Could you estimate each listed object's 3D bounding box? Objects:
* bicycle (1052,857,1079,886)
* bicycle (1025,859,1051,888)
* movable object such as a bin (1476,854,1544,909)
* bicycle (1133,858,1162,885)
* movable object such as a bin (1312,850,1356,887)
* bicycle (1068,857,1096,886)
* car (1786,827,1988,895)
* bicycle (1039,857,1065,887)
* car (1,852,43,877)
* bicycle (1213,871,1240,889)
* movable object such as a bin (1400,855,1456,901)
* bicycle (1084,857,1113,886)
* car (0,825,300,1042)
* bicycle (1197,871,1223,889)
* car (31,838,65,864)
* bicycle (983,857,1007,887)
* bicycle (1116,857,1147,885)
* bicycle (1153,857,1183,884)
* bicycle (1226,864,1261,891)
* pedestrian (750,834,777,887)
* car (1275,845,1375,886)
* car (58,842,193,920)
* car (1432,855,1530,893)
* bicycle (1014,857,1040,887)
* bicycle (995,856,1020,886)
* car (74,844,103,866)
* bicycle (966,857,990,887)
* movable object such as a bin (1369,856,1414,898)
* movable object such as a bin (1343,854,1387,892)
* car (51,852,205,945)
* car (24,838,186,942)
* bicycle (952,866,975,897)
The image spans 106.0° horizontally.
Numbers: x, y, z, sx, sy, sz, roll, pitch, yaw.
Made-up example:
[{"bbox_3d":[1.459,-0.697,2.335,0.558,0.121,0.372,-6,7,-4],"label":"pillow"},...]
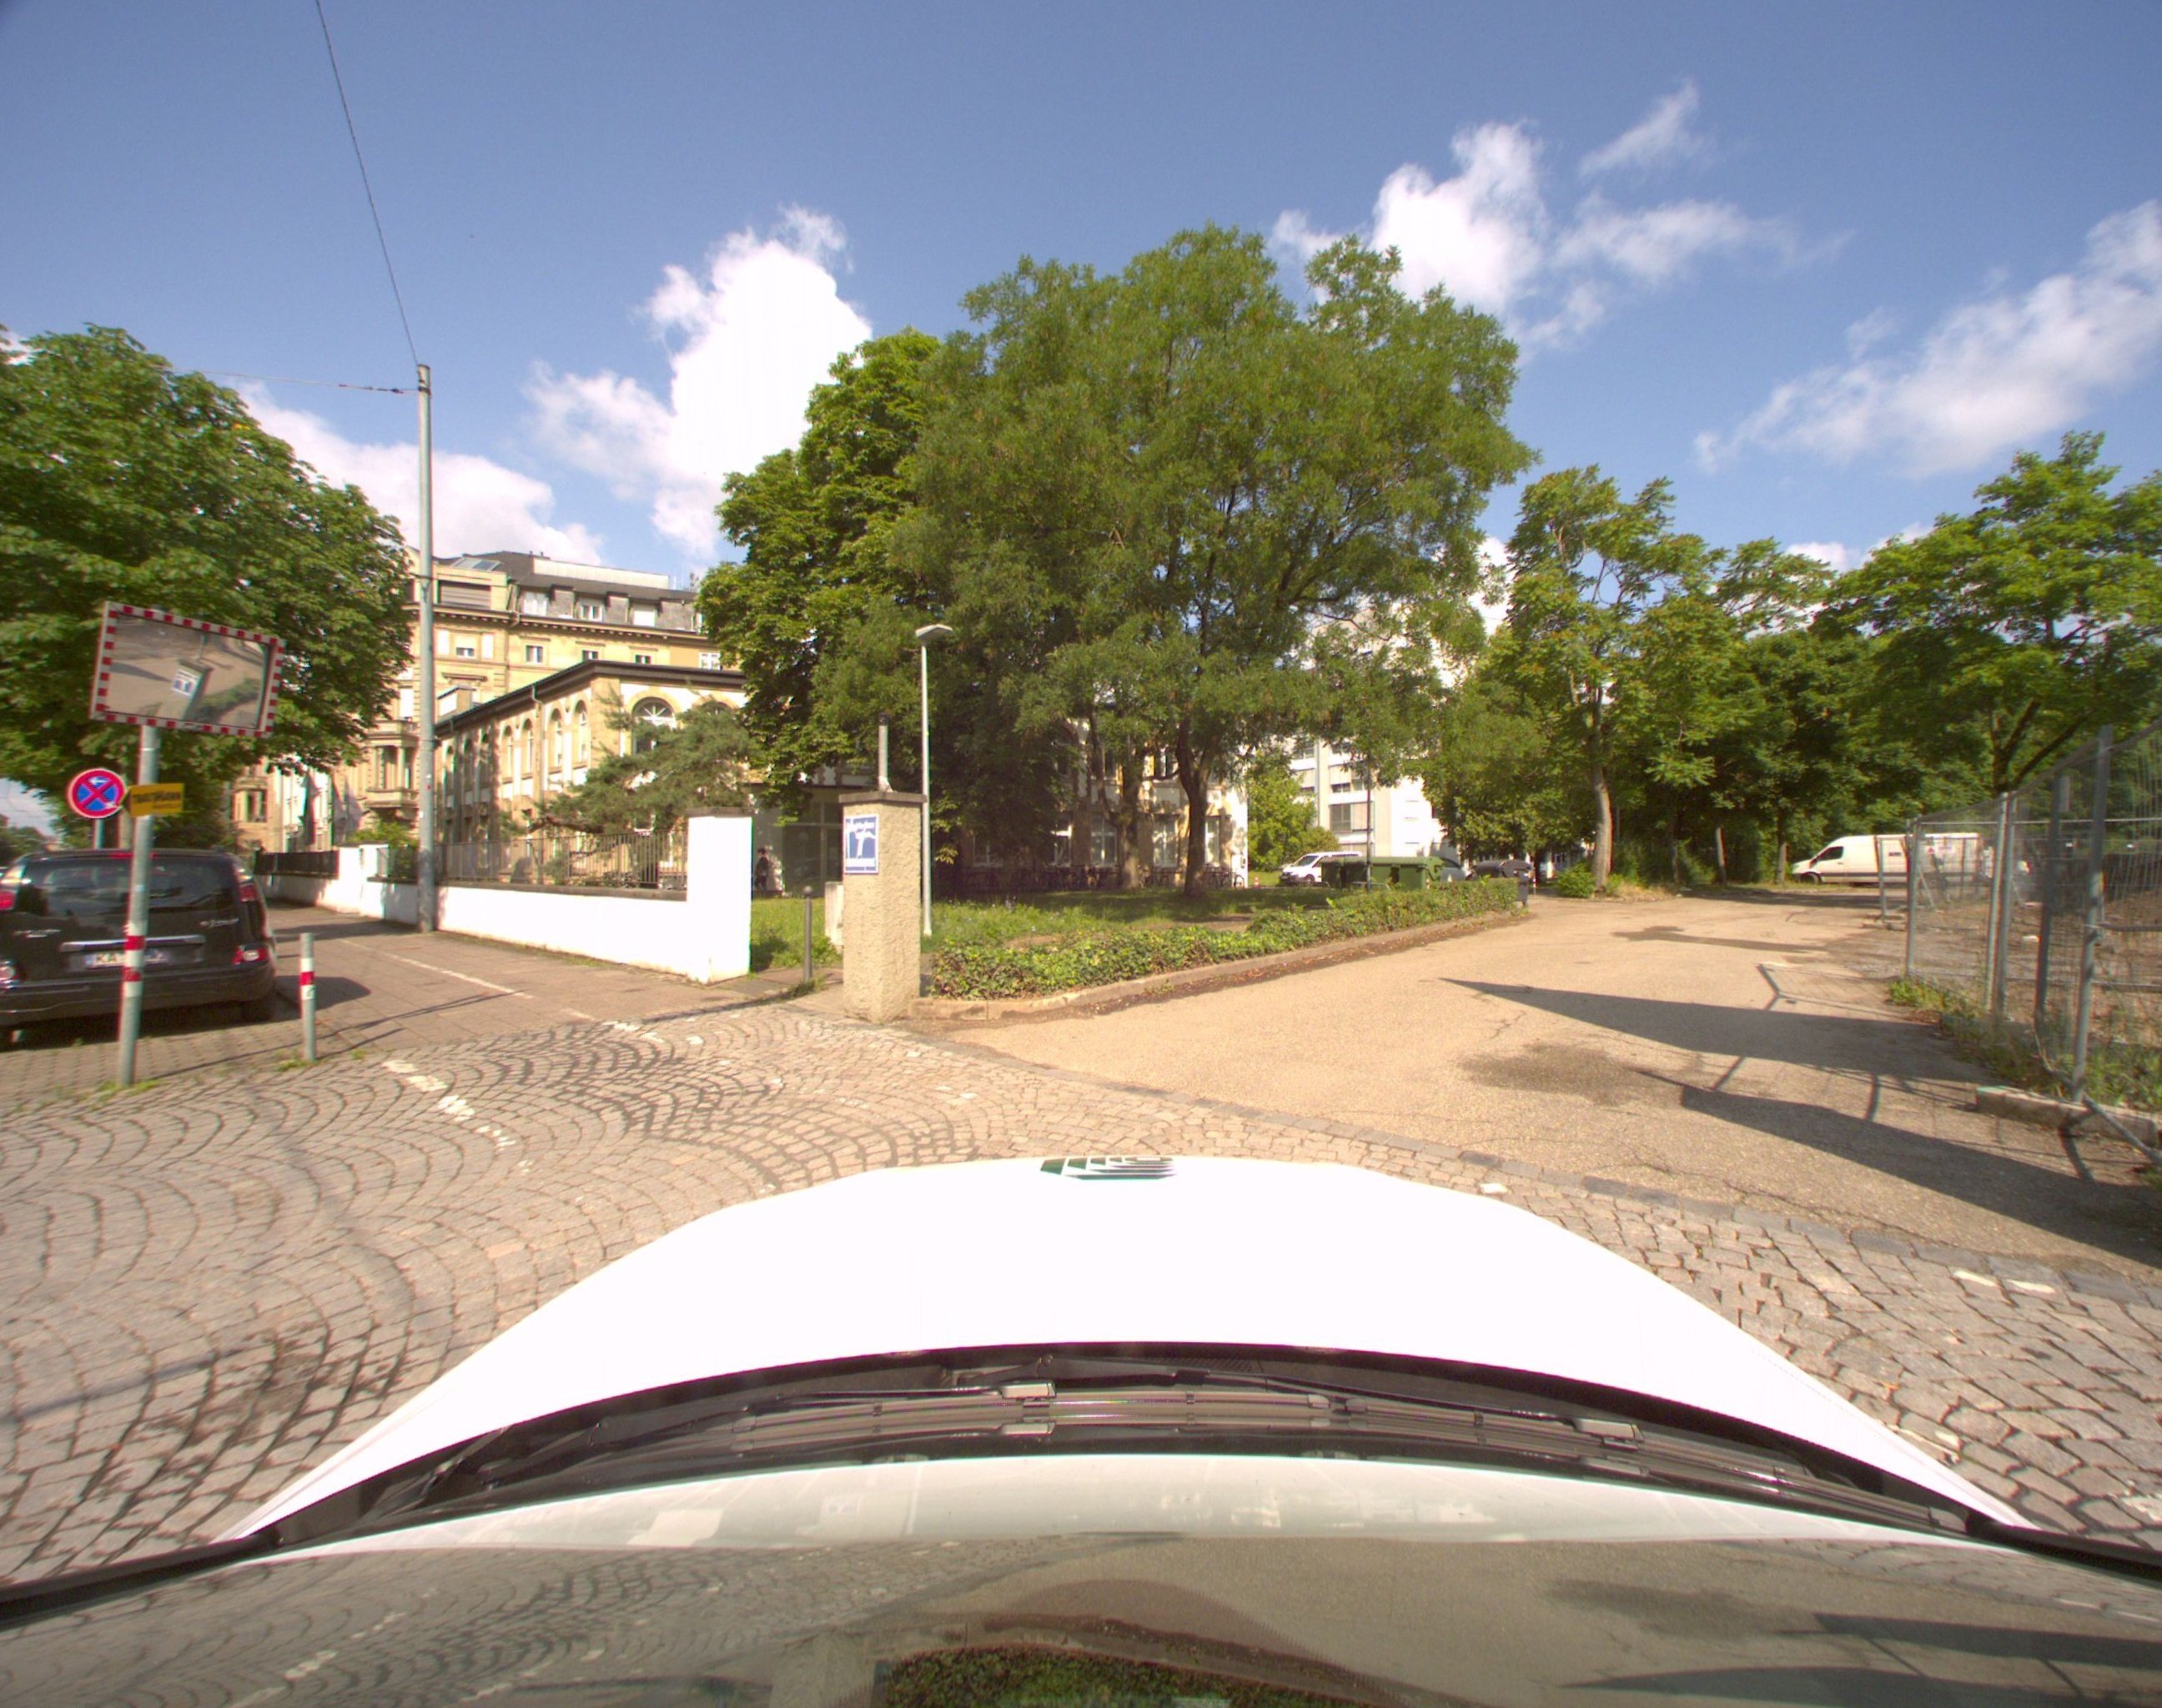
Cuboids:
[{"bbox_3d":[-0.615,0.671,32.066,0.420,1.056,2.054,-4,1,-19],"label":"bicycle"},{"bbox_3d":[-1.670,0.733,31.251,0.420,1.056,2.054,-4,1,-18],"label":"bicycle"},{"bbox_3d":[12.483,0.795,23.762,1.243,1.481,1.295,1,3,-3],"label":"movable object such as a bin"},{"bbox_3d":[2.693,0.693,33.162,0.420,1.056,2.054,0,0,-18],"label":"bicycle"},{"bbox_3d":[9.659,0.535,31.125,0.949,1.349,1.368,0,0,-29],"label":"movable object such as a bin"},{"bbox_3d":[0.031,0.668,32.049,0.420,1.056,2.054,-4,1,-19],"label":"bicycle"},{"bbox_3d":[39.409,0.237,40.084,2.010,3.047,6.897,-2,2,-38],"label":"car"},{"bbox_3d":[-1.147,0.683,31.806,0.420,1.056,2.054,-4,1,-19],"label":"bicycle"},{"bbox_3d":[-73.890,0.734,56.852,3.519,1.684,1.637,0,0,40],"label":"car"},{"bbox_3d":[6.128,1.095,34.342,0.320,0.705,1.849,0,0,-16],"label":"bicycle"},{"bbox_3d":[11.575,0.781,27.181,1.106,1.451,1.331,0,0,-29],"label":"movable object such as a bin"},{"bbox_3d":[0.681,0.667,32.399,0.420,1.056,2.054,-4,1,-19],"label":"bicycle"},{"bbox_3d":[-8.932,0.590,7.744,3.539,1.612,1.689,2,-2,39],"label":"car"},{"bbox_3d":[5.407,1.074,34.125,0.320,0.705,1.849,0,0,-16],"label":"bicycle"},{"bbox_3d":[-83.543,-0.261,65.907,3.519,2.000,1.637,0,0,40],"label":"car"},{"bbox_3d":[-3.248,0.669,30.588,0.420,1.056,2.054,-4,1,-19],"label":"bicycle"},{"bbox_3d":[2.018,0.669,32.714,0.420,1.056,2.054,-4,1,-19],"label":"bicycle"},{"bbox_3d":[3.535,0.650,33.374,0.420,1.056,2.054,0,0,-18],"label":"bicycle"},{"bbox_3d":[6.896,0.966,34.663,0.420,1.056,2.054,-4,1,-19],"label":"bicycle"},{"bbox_3d":[-10.107,0.200,25.951,0.774,1.677,0.802,0,0,-24],"label":"pedestrian"},{"bbox_3d":[13.276,0.624,44.345,4.958,1.965,1.986,-2,-1,-21],"label":"car"},{"bbox_3d":[-23.000,0.569,19.700,3.949,1.706,1.978,0,0,41],"label":"car"},{"bbox_3d":[17.678,0.865,35.985,3.921,1.420,1.745,-3,1,-23],"label":"car"},{"bbox_3d":[-2.086,0.668,31.141,0.420,1.056,2.054,-4,1,-19],"label":"bicycle"},{"bbox_3d":[-2.801,0.633,30.760,0.420,1.056,2.054,-4,1,-18],"label":"bicycle"},{"bbox_3d":[-88.388,0.074,72.550,3.519,1.849,1.637,0,0,40],"label":"car"},{"bbox_3d":[-3.892,0.672,30.663,0.420,1.056,2.054,-4,1,-19],"label":"bicycle"},{"bbox_3d":[10.861,0.785,28.516,0.882,1.451,1.223,0,0,-29],"label":"movable object such as a bin"},{"bbox_3d":[10.407,0.668,29.864,0.949,1.349,1.223,0,0,-29],"label":"movable object such as a bin"},{"bbox_3d":[-17.763,0.736,15.217,3.237,1.486,1.683,0,2,40],"label":"car"},{"bbox_3d":[-17.963,0.583,15.034,3.538,1.611,1.690,0,3,40],"label":"car"},{"bbox_3d":[-4.380,1.000,30.253,0.420,1.056,2.054,-4,1,-18],"label":"bicycle"}]
